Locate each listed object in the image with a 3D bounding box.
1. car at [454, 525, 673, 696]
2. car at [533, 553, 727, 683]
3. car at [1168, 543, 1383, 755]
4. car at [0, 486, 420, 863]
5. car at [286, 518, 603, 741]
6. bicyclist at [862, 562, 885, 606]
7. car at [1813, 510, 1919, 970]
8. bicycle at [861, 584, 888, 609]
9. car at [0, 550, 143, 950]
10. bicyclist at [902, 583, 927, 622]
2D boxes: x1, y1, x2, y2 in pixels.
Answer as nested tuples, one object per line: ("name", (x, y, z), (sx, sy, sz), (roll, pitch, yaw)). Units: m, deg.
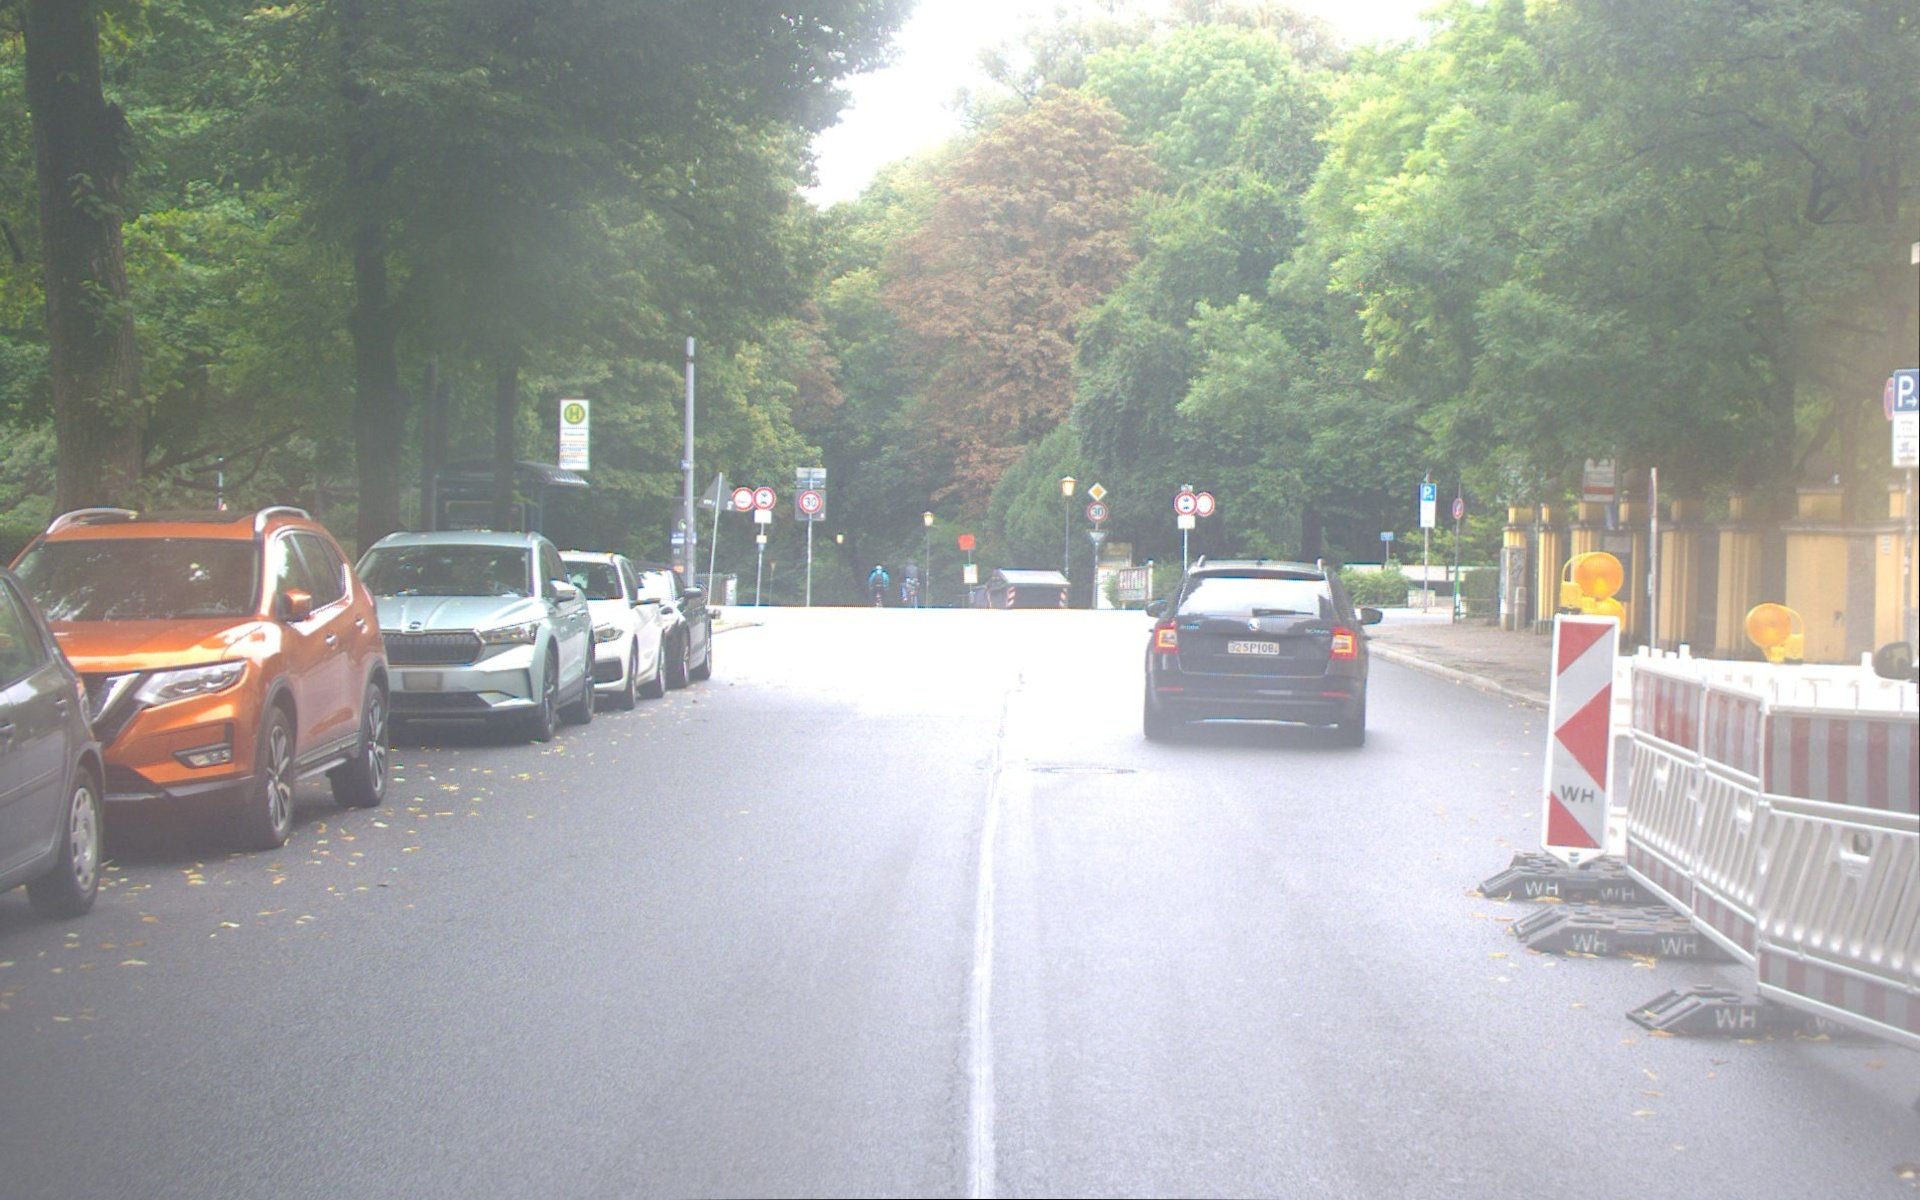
("car", (-3.724, 0.068, 32.864), (1.577, 1.492, 4.199), (1, 1, 0))
("car", (-3.610, 0.165, 38.179), (1.577, 1.338, 4.044), (1, 1, 2))
("car", (2.512, 0.347, 28.072), (1.577, 1.578, 4.044), (1, 1, 3))
("car", (-4.225, 0.308, 18.208), (1.873, 1.722, 4.641), (1, 1, 1))
("car", (-4.007, 0.186, 27.400), (1.815, 1.596, 4.514), (1, 1, 0))
("bicyclist", (-2.980, -0.562, 118.755), (0.680, 1.499, 0.901), (1, 1, -8))
("car", (4.534, 0.547, 12.378), (1.739, 1.744, 4.356), (1, 0, -1))
("bicycle", (-2.956, -0.129, 118.645), (0.679, 0.827, 2.110), (1, 0, -9))
("car", (-4.304, 0.533, 12.397), (1.727, 1.418, 4.251), (1, 1, -1))
("bicyclist", (-1.398, 0.075, 105.065), (0.680, 1.183, 0.481), (1, 1, -10))
